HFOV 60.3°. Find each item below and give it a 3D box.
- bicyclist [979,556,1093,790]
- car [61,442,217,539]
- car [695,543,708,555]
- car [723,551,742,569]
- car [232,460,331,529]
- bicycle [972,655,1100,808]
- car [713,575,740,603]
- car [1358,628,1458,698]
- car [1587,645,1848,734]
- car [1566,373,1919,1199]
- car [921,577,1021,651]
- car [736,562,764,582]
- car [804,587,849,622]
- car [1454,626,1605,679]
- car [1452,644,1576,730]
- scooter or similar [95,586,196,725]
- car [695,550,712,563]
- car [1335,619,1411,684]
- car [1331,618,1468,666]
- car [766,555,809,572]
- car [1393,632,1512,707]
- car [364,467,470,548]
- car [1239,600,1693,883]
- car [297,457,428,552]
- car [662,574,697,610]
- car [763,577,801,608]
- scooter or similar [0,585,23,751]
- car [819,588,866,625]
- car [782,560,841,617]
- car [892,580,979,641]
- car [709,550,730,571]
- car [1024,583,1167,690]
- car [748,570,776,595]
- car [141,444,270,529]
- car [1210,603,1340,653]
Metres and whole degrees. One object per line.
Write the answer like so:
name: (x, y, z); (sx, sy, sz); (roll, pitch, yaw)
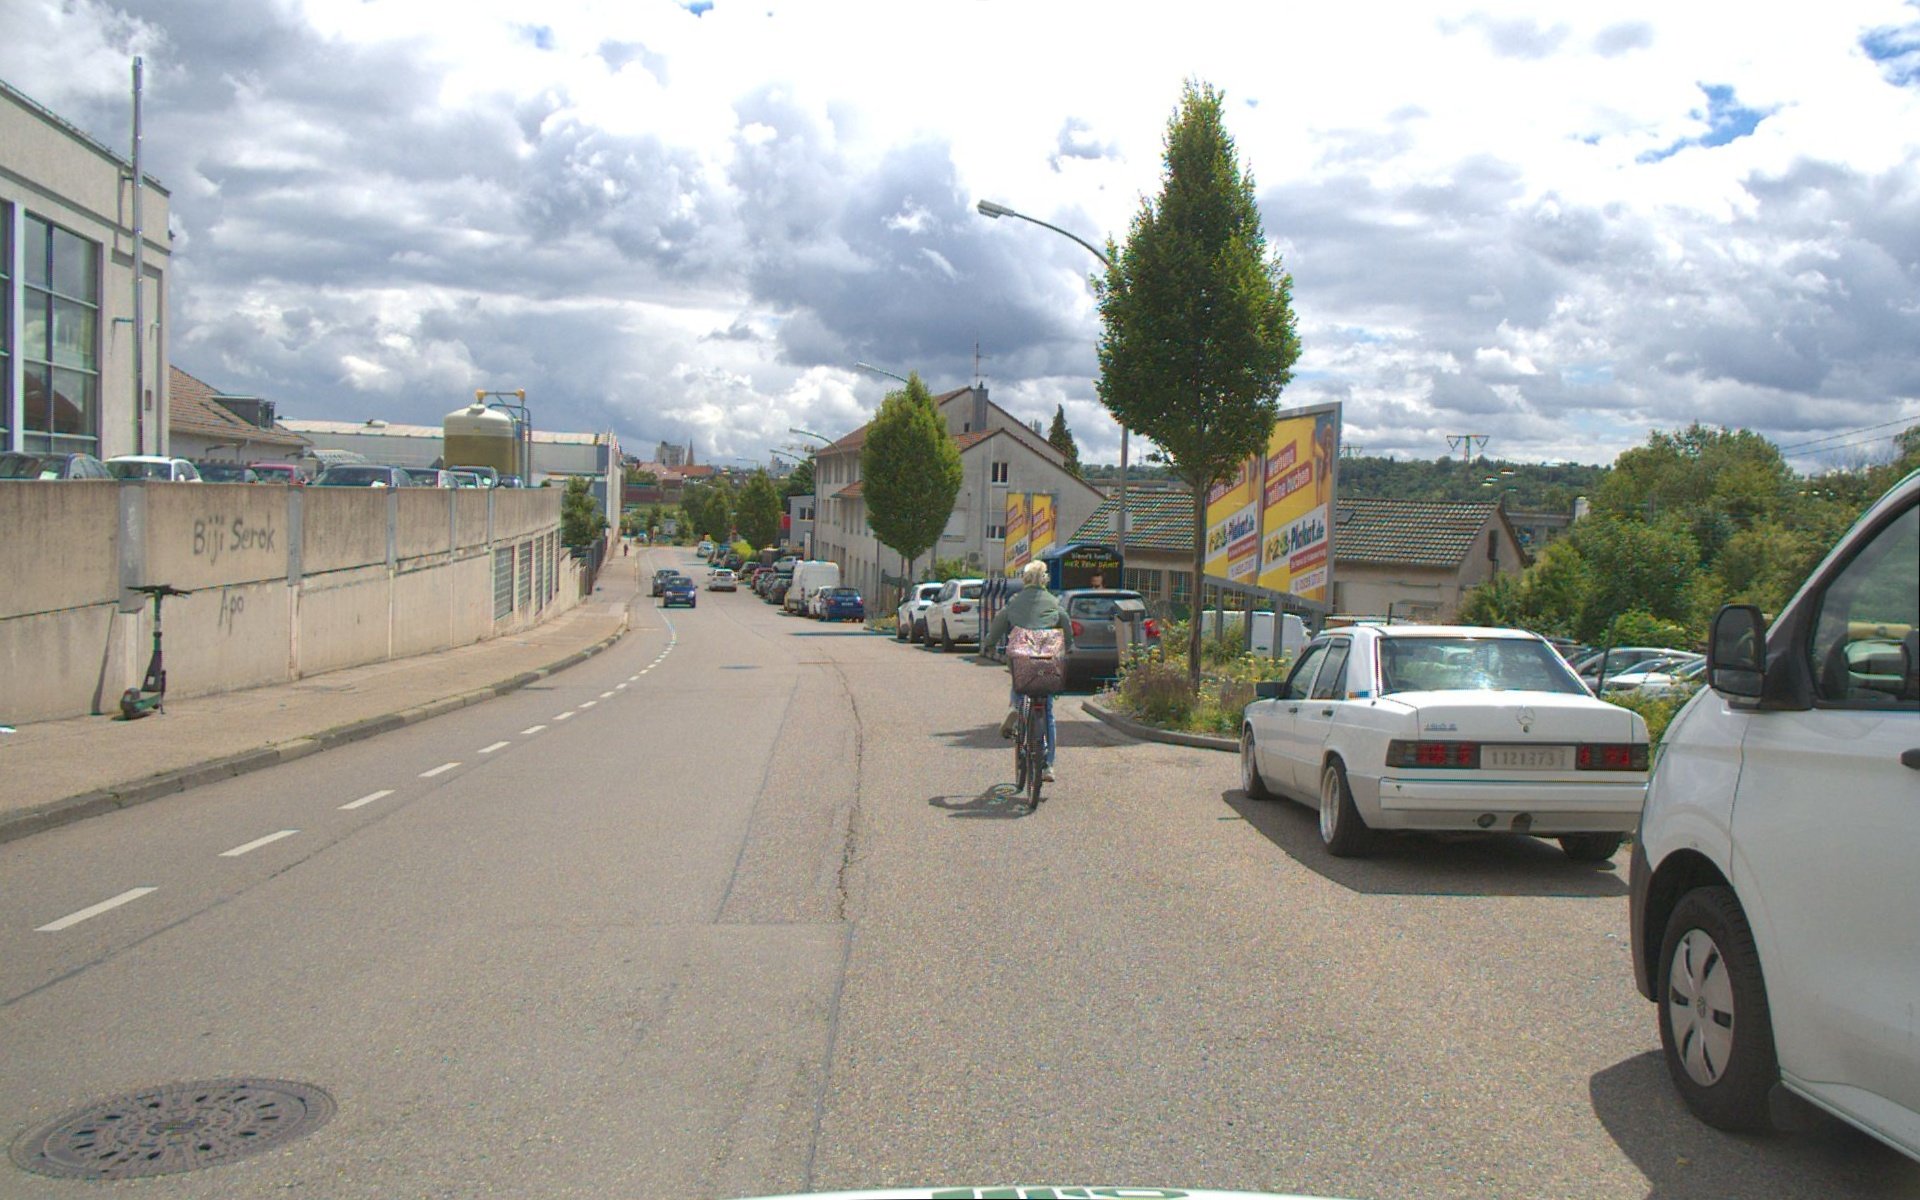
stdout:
bicyclist: (0.547, 0.521, 12.170); (0.725, 1.655, 0.731); (1, 0, -5)
car: (-16.567, -2.154, 33.577); (1.774, 1.665, 4.102); (1, 0, -11)
car: (-35.414, -6.992, 226.503); (1.670, 1.554, 3.730); (2, 2, -10)
car: (-21.737, -3.822, 158.266); (1.648, 1.666, 4.114); (1, 2, -10)
car: (-19.163, -2.939, 46.876); (1.774, 1.665, 4.102); (1, 0, -11)
bicycle: (0.527, 0.929, 12.190); (0.725, 0.992, 1.731); (1, -1, -4)
car: (-15.743, -0.766, 111.382); (1.539, 1.817, 3.595); (1, 0, -12)
car: (11.832, 1.640, 43.958); (1.774, 1.650, 4.466); (0, 0, 5)
car: (15.103, 1.759, 33.186); (4.351, 1.582, 2.002); (1, 0, 8)
car: (3.164, 0.524, 3.173); (1.934, 2.039, 5.547); (1, 0, 0)
car: (0.207, 0.316, 40.250); (1.655, 1.688, 4.469); (1, 0, -10)
car: (-16.825, -2.244, 132.141); (1.760, 1.491, 4.694); (1, 1, -13)
car: (-6.220, 0.197, 76.942); (1.565, 1.536, 3.778); (1, 0, -13)
car: (15.749, 1.439, 45.898); (3.905, 1.414, 1.598); (0, 0, 17)
car: (11.401, 1.747, 34.295); (1.658, 1.472, 4.157); (2, 1, 8)
scooter or similar: (-8.052, 0.524, 16.404); (0.510, 1.298, 1.379); (3, 0, -12)
car: (-33.511, -5.679, 215.898); (1.673, 1.554, 3.724); (4, 1, -15)
car: (12.250, 1.498, 49.303); (1.712, 1.714, 4.683); (0, 1, 8)
car: (13.851, 1.304, 52.200); (3.953, 1.414, 1.522); (0, 0, 28)
car: (-15.967, -3.406, 152.875); (4.000, 1.488, 1.716); (1, 3, 40)
car: (11.606, 1.590, 39.250); (1.715, 1.544, 4.584); (0, 0, 3)
car: (-12.812, -2.151, 39.234); (1.773, 1.665, 4.095); (1, 0, -10)
car: (3.008, 0.741, 10.763); (1.604, 1.411, 4.204); (1, 0, -1)
car: (-12.111, -1.893, 33.768); (1.773, 1.665, 4.095); (1, 0, -10)
car: (-14.928, -0.438, 87.873); (1.598, 1.849, 3.767); (0, 0, -13)
car: (-10.649, -0.471, 98.913); (1.675, 1.536, 5.073); (3, 2, -12)
scooter or similar: (-7.786, 0.530, 12.625); (0.546, 1.298, 1.305); (1, 0, -3)
car: (-5.157, 0.260, 72.113); (1.539, 1.536, 4.082); (1, 0, -11)
car: (-7.488, -0.555, 82.906); (1.998, 2.687, 7.260); (1, 0, -12)
car: (-0.739, 0.265, 46.090); (1.808, 1.592, 4.456); (-1, 0, -9)
car: (-25.092, -4.155, 172.730); (1.836, 2.024, 5.130); (1, 2, -11)
car: (2.020, 0.505, 25.663); (1.622, 1.511, 4.041); (-1, 0, -4)
car: (-13.953, -1.261, 116.427); (1.704, 1.498, 4.251); (2, 3, -11)
car: (-17.466, -2.588, 38.468); (1.774, 1.665, 4.102); (1, 0, -11)
car: (10.648, 0.915, 55.971); (3.968, 1.414, 1.736); (4, 3, 39)
